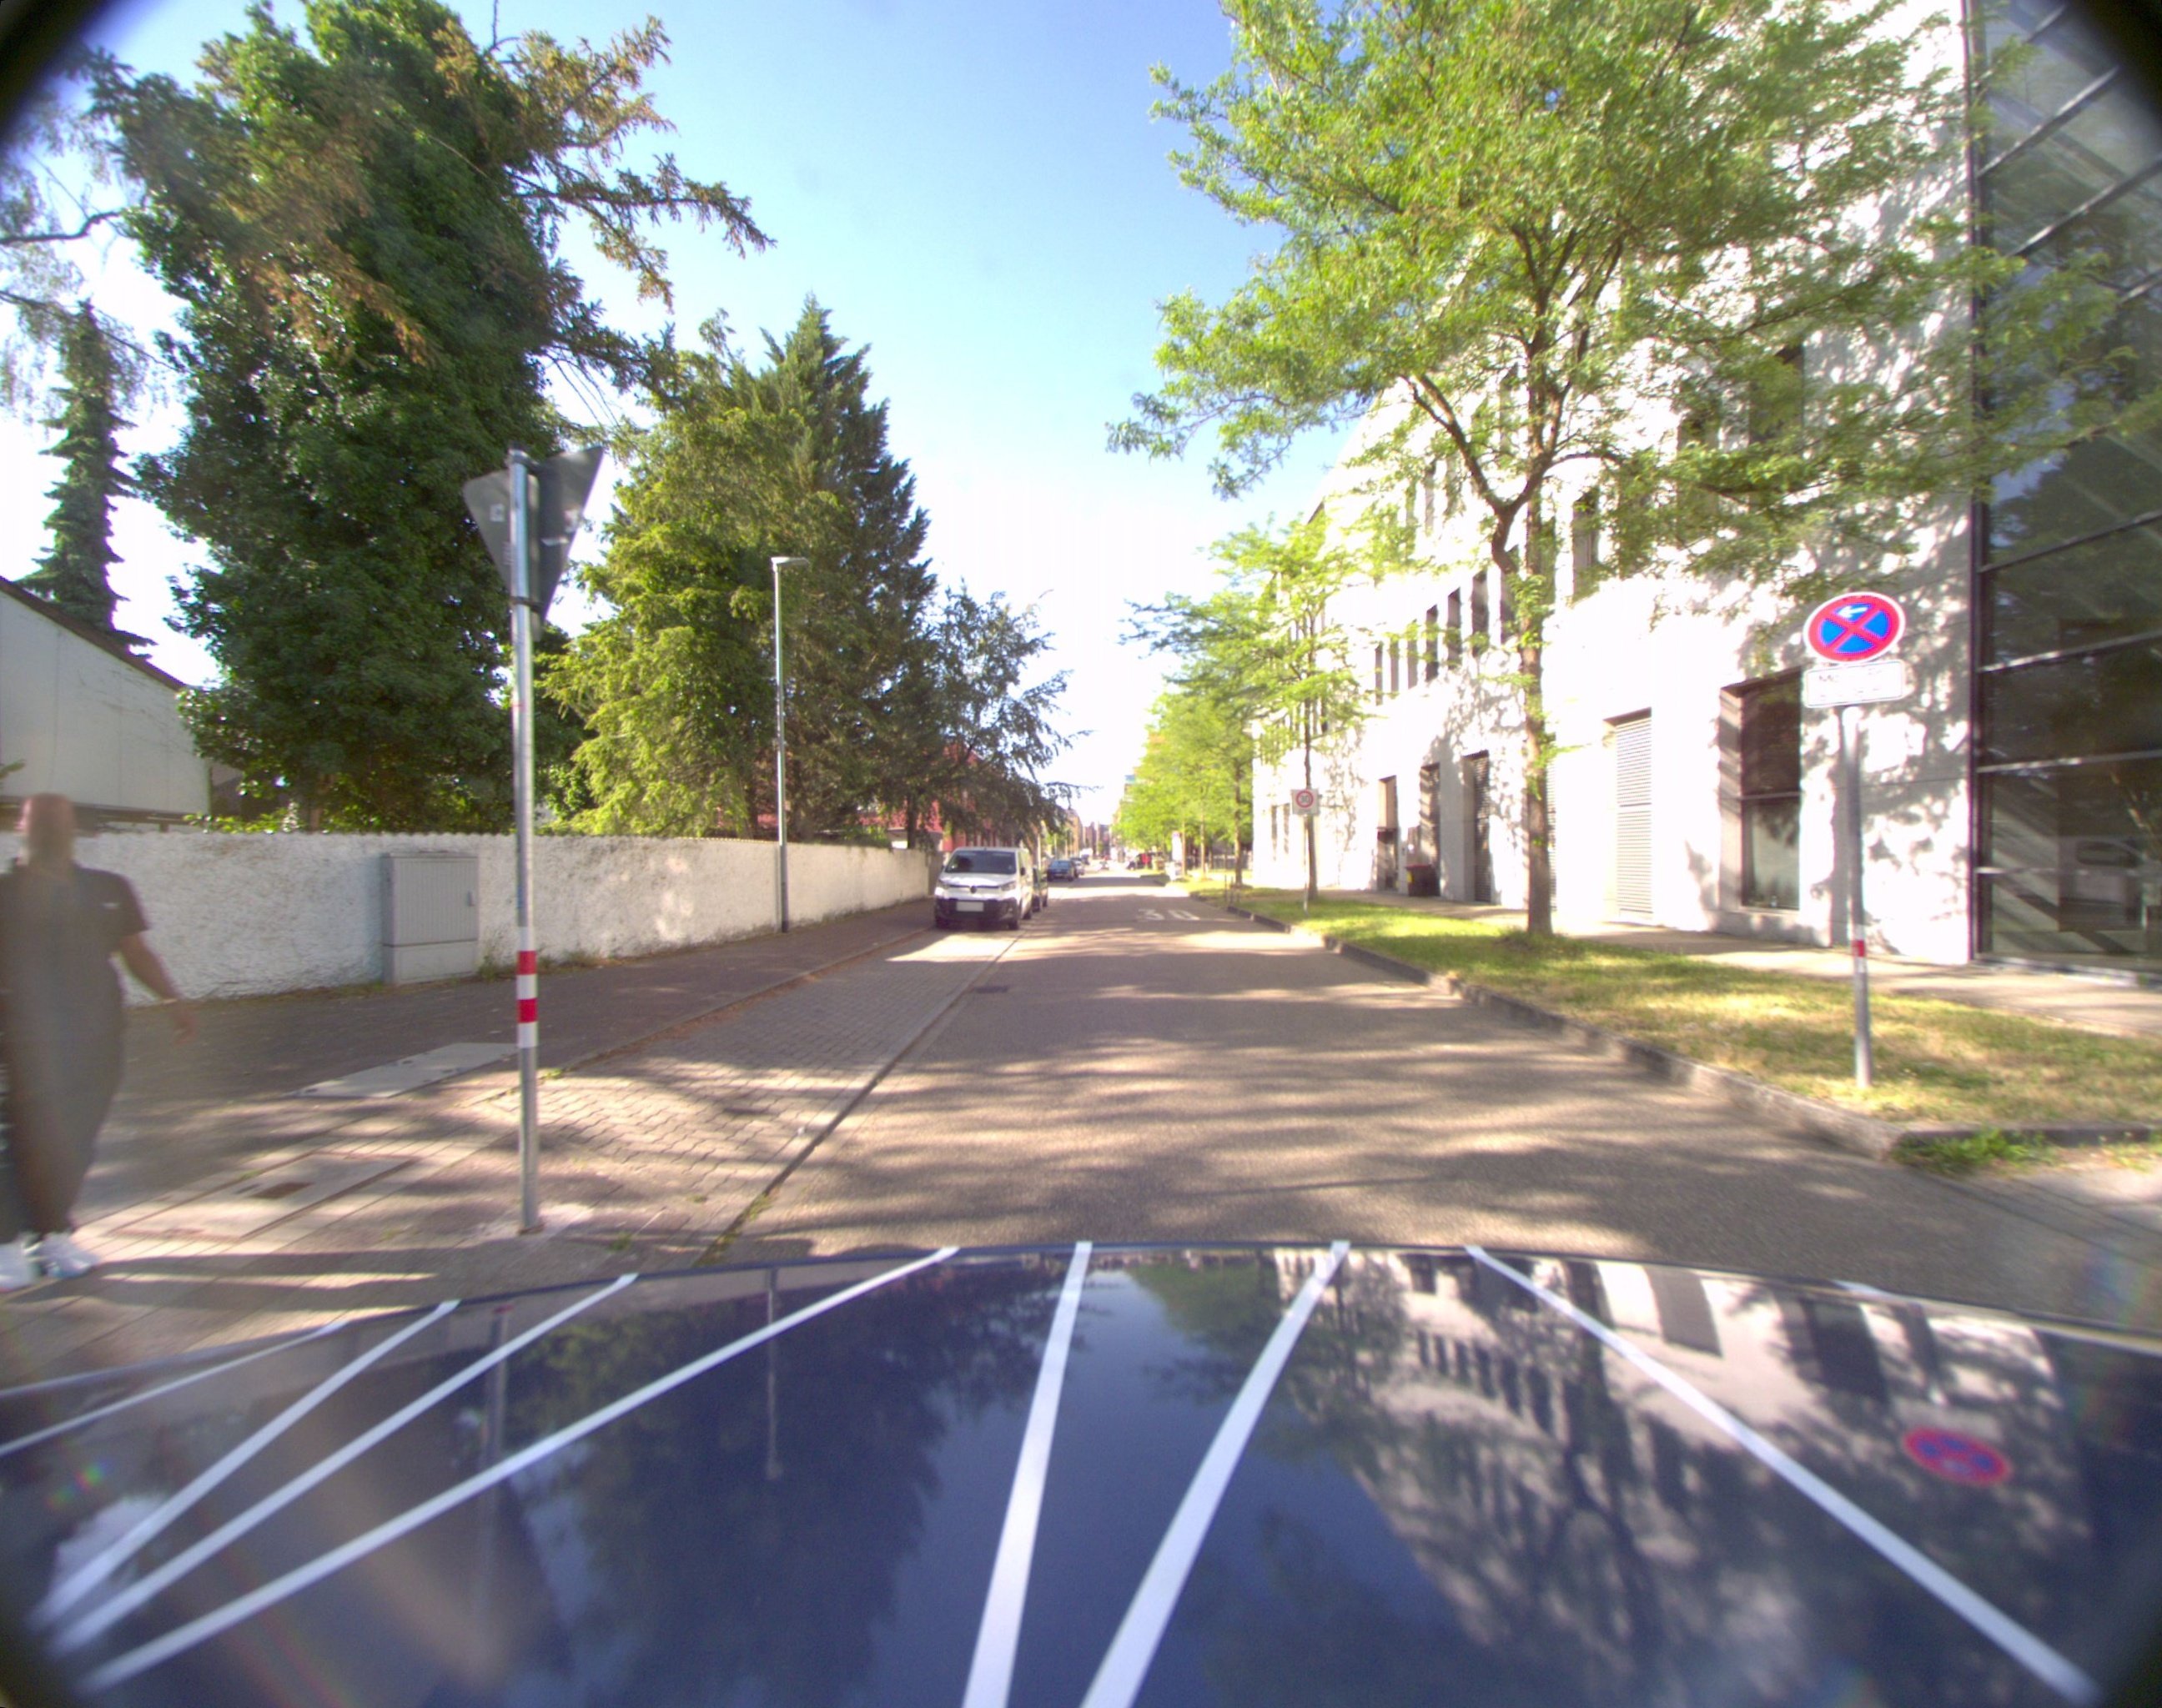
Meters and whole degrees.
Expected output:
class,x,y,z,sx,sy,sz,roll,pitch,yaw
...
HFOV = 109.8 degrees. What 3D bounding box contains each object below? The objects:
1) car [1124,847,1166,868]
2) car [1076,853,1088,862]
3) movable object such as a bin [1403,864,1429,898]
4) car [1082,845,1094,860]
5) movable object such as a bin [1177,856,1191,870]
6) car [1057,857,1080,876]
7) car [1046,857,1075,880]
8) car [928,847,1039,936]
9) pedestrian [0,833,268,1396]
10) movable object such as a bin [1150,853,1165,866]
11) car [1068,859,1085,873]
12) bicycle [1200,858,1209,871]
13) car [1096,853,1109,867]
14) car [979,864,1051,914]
class,x,y,z,sx,sy,sz,roll,pitch,yaw
car,8.596,0.475,102.183,5.489,2.526,1.986,-3,0,1
car,0.204,0.605,140.699,1.903,1.585,4.373,0,0,2
movable object such as a bin,10.751,0.857,24.395,0.594,1.034,0.543,-2,0,0
car,1.770,-0.425,200.759,2.913,3.920,6.326,0,0,3
movable object such as a bin,11.710,1.034,86.631,1.522,1.559,1.347,-2,0,6
car,-1.107,1.078,68.825,1.878,1.620,4.407,0,0,2
car,-1.477,1.052,57.361,1.903,1.620,4.373,0,0,2
car,-2.226,0.796,18.796,1.903,1.903,5.148,0,0,2
pedestrian,-3.570,0.781,2.536,0.805,1.675,0.839,3,1,14
movable object such as a bin,9.385,0.714,93.022,1.524,1.559,1.346,-2,0,-8
car,-0.454,1.247,82.861,1.699,1.447,3.890,0,0,2
bicycle,11.877,0.985,73.146,0.602,1.185,1.728,-2,0,2
car,3.249,0.850,113.449,1.903,1.974,4.373,0,0,2
car,-2.056,1.075,24.771,1.830,1.415,4.283,0,0,2
